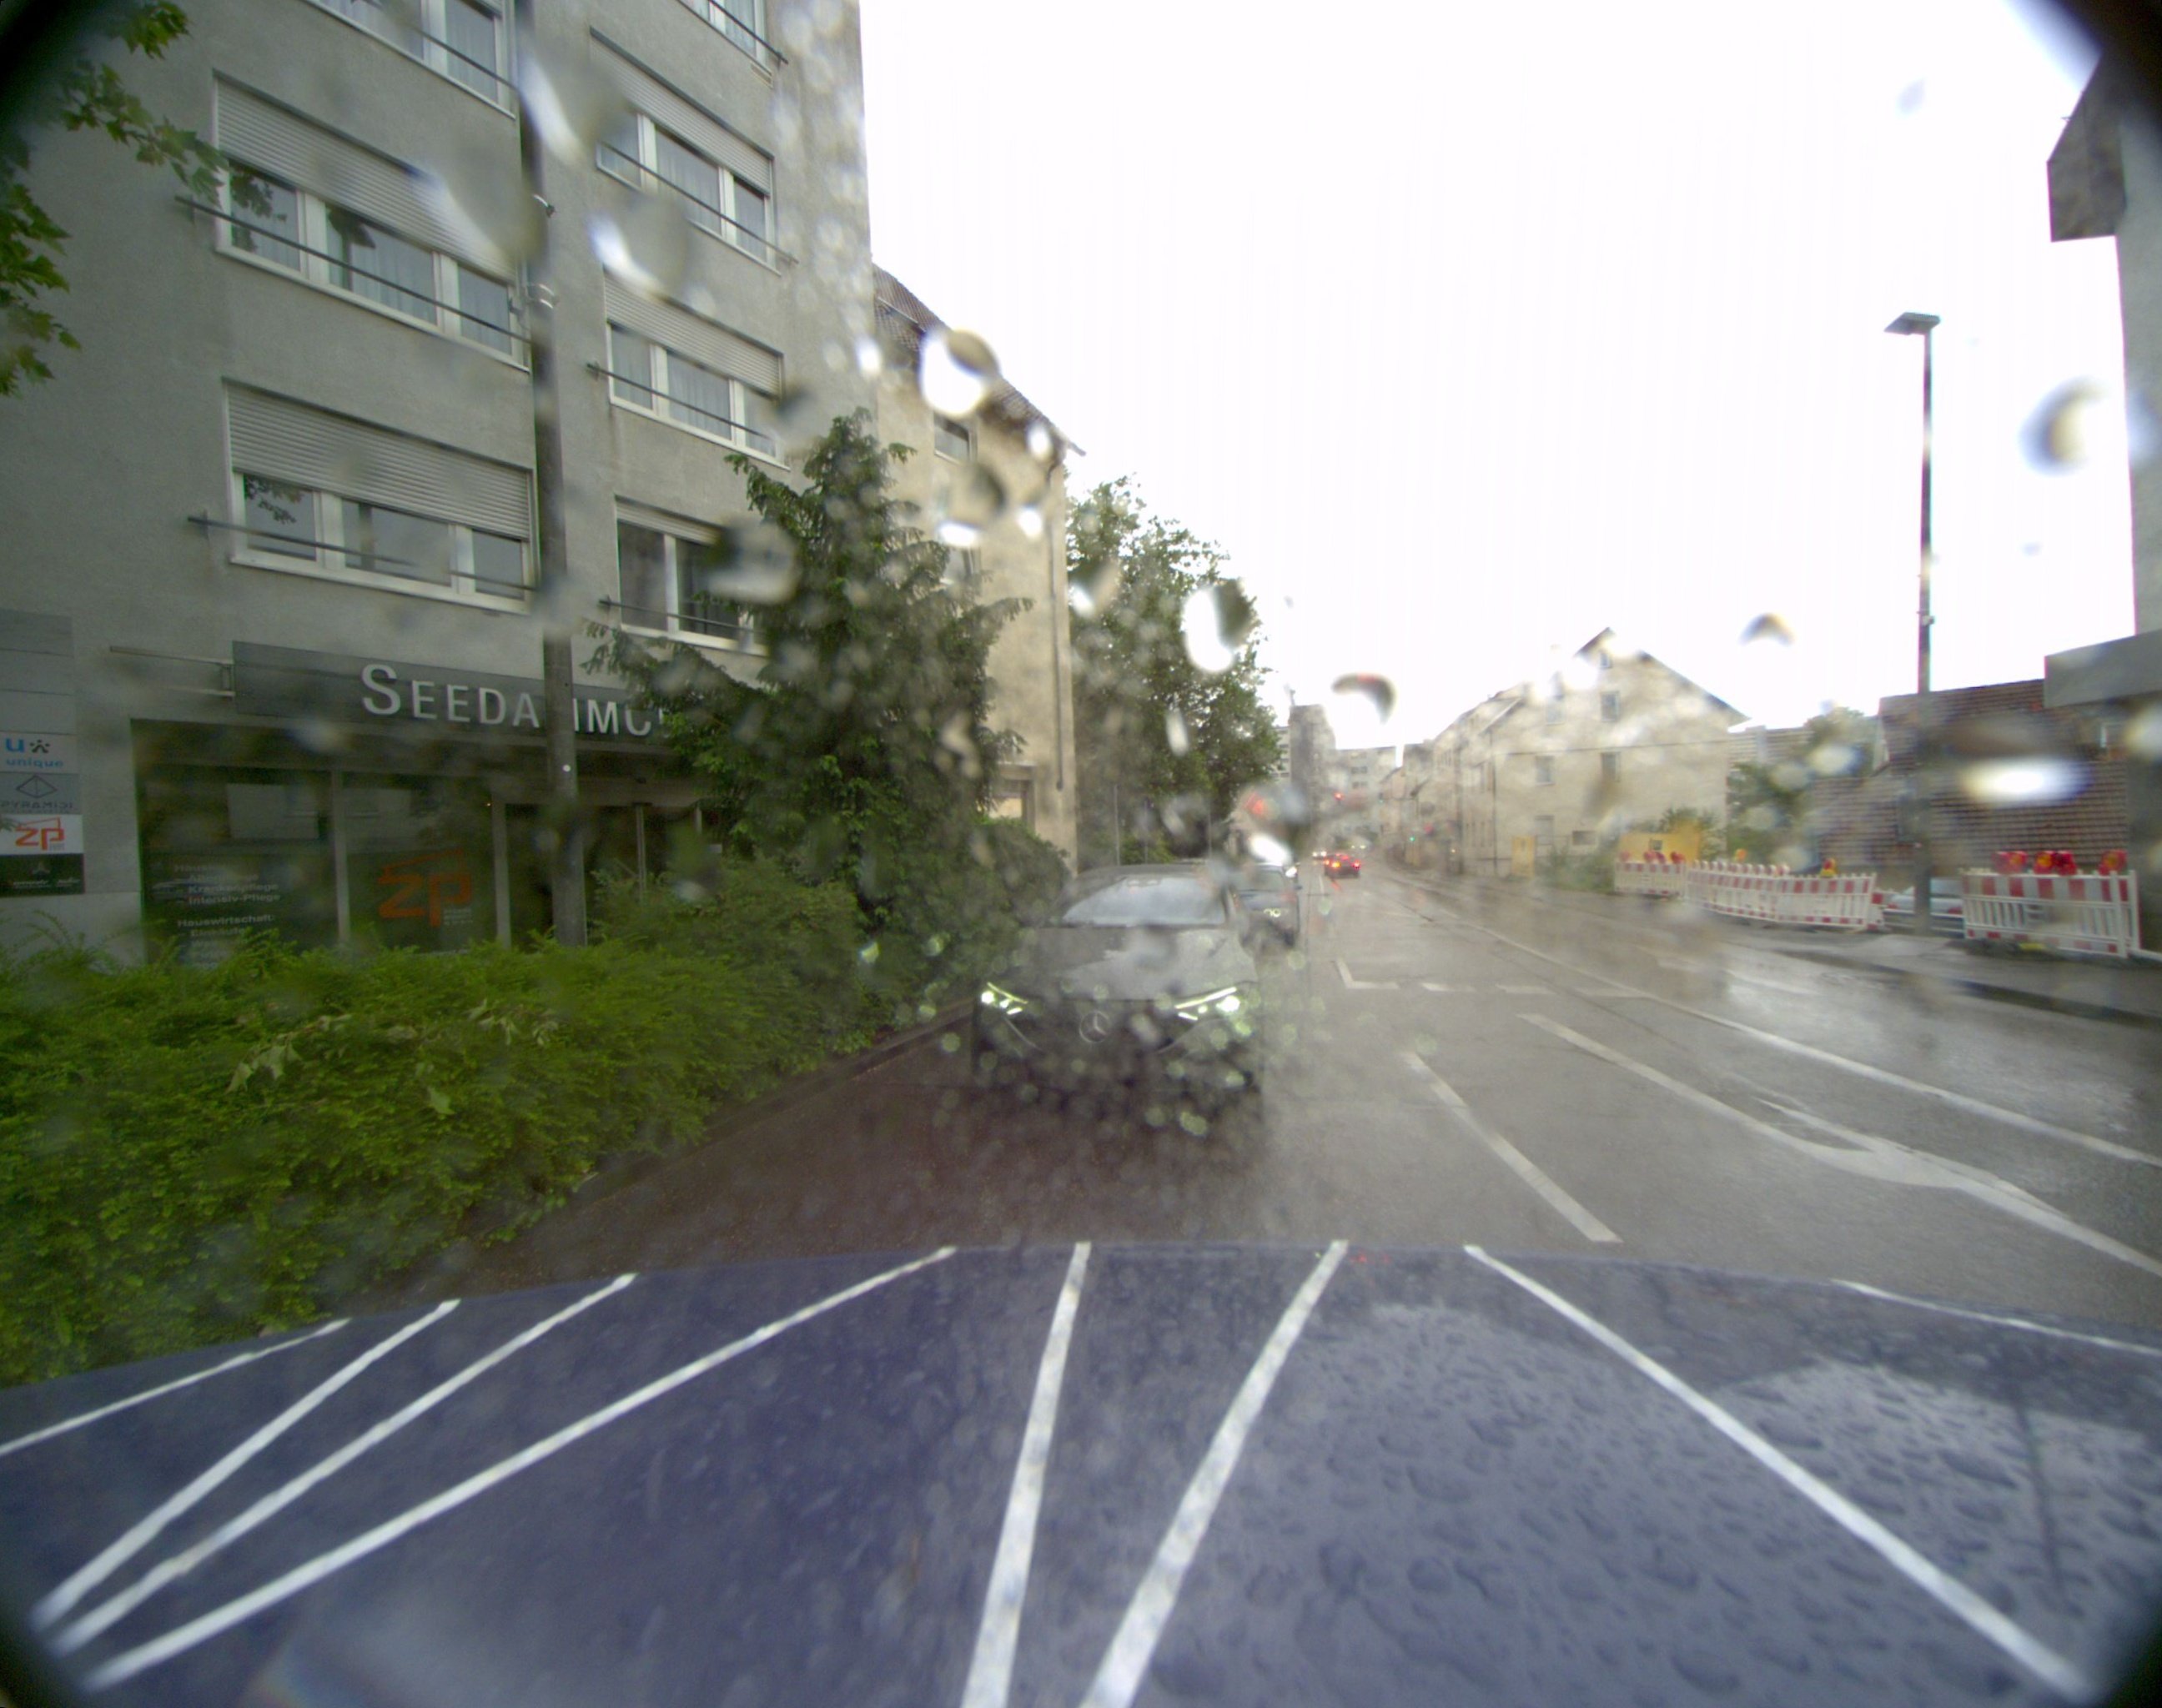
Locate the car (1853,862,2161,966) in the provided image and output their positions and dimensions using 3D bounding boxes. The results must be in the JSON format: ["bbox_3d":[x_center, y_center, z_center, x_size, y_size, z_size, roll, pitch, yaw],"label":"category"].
[{"bbox_3d":[16.405,1.020,13.433,3.505,1.382,1.653,6,-1,8],"label":"car"}]

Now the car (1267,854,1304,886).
[{"bbox_3d":[10.472,0.784,38.714,1.684,1.452,4.005,-2,0,16],"label":"car"}]

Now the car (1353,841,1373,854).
[{"bbox_3d":[43.635,-0.971,117.414,1.789,1.841,3.843,-2,0,38],"label":"car"}]

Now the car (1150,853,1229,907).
[{"bbox_3d":[4.064,0.872,27.809,1.933,1.770,4.740,-1,0,20],"label":"car"}]

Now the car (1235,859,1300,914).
[{"bbox_3d":[5.597,0.914,22.739,1.685,1.413,4.004,-2,0,14],"label":"car"}]

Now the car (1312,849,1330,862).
[{"bbox_3d":[30.804,0.205,97.359,1.613,1.495,3.724,-3,0,25],"label":"car"}]

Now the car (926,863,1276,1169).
[{"bbox_3d":[0.584,0.919,6.303,1.818,1.562,4.281,-3,-1,16],"label":"car"}]

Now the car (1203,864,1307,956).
[{"bbox_3d":[3.404,0.948,14.367,1.639,1.424,3.810,-1,0,17],"label":"car"}]

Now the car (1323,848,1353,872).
[{"bbox_3d":[18.892,0.464,55.915,1.818,1.635,4.281,-3,-1,16],"label":"car"}]

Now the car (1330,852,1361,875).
[{"bbox_3d":[17.235,0.578,49.649,1.709,1.375,3.674,-2,0,16],"label":"car"}]
